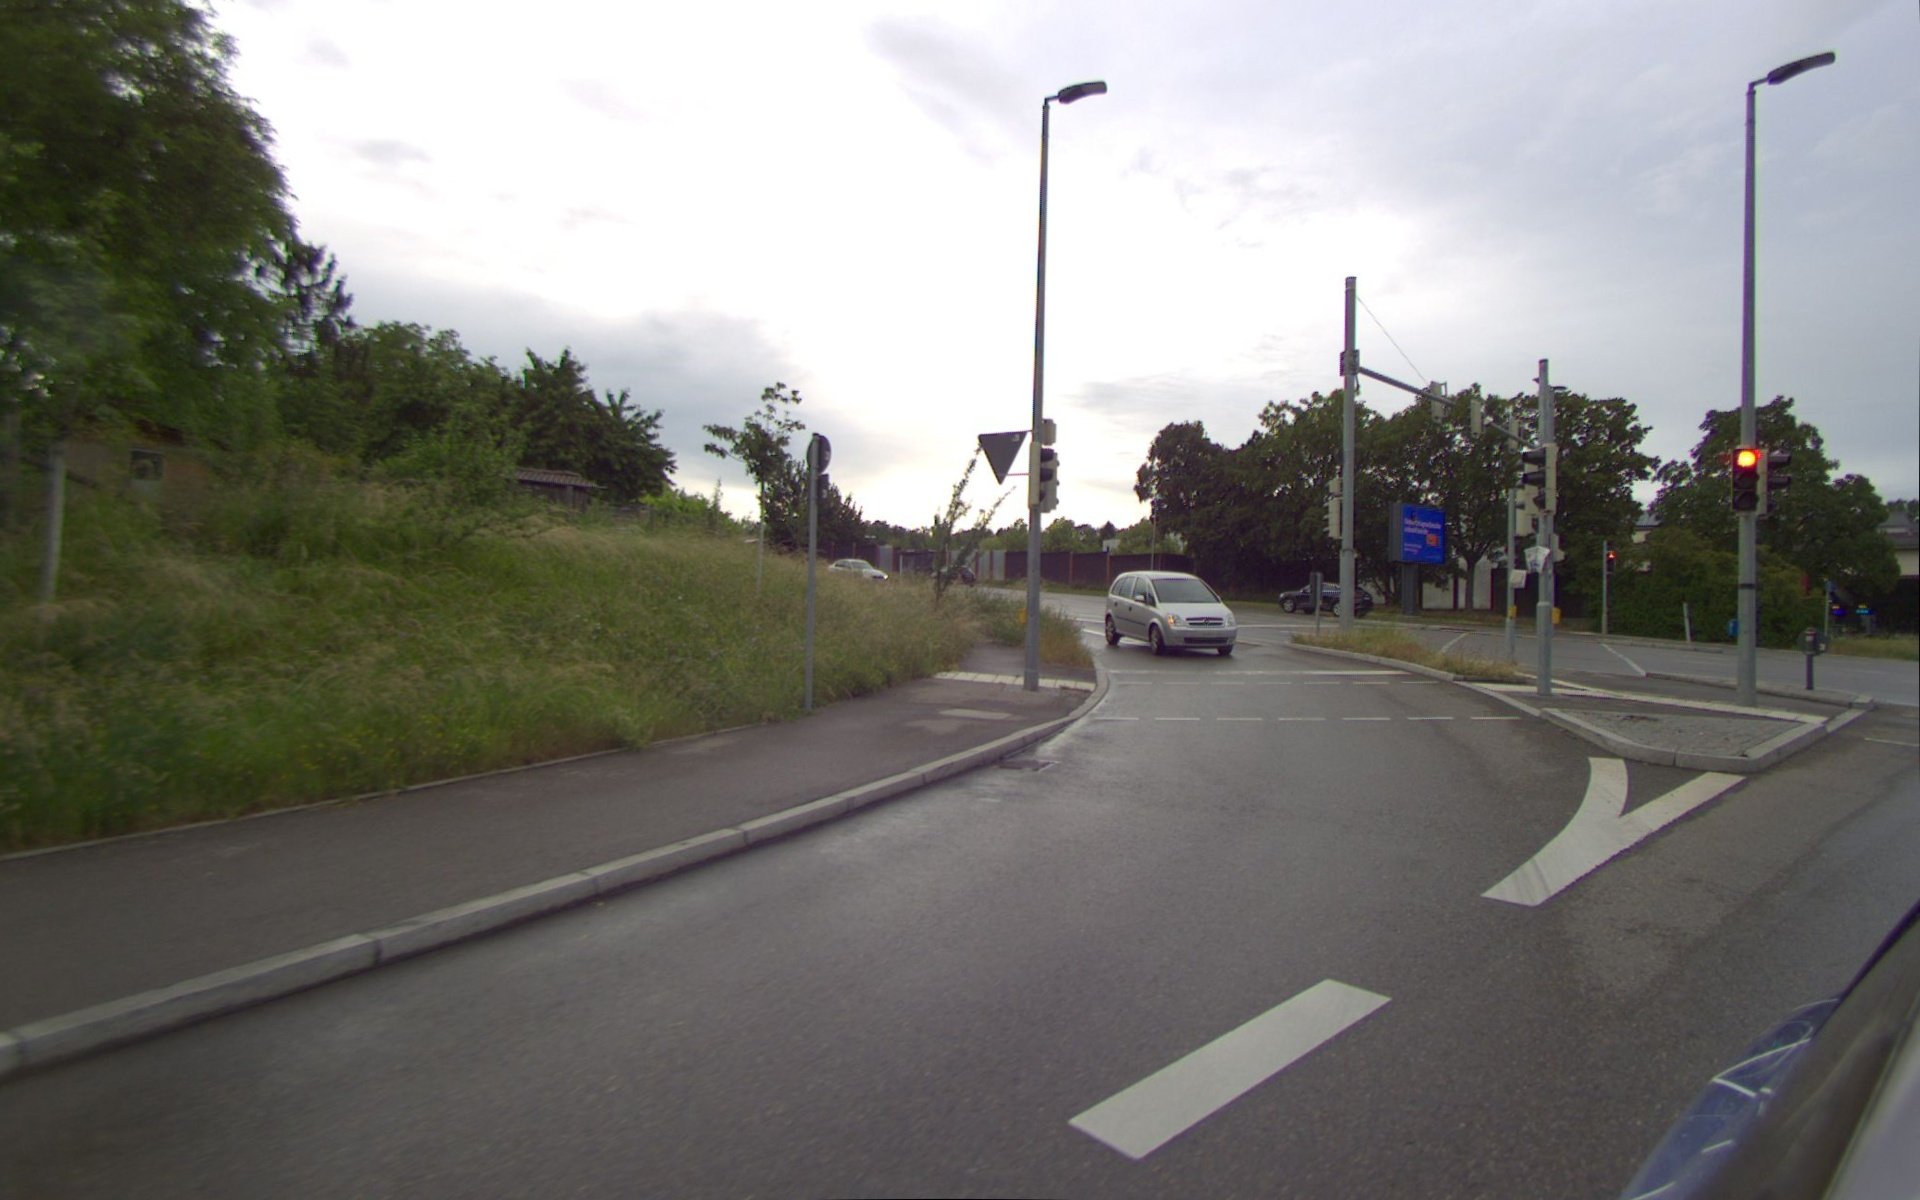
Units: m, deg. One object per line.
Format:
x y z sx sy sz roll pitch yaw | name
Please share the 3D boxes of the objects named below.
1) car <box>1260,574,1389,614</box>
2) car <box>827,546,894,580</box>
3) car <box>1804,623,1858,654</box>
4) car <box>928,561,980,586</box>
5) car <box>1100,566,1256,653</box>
16.943 -0.310 47.351 1.805 1.518 5.535 2 1 -36 | car
-5.527 -2.044 55.916 1.789 1.695 3.999 2 1 -38 | car
52.351 2.326 60.801 3.927 1.671 1.746 2 1 -39 | car
-0.441 -1.889 71.764 1.693 1.518 3.827 2 1 -36 | car
4.448 0.121 21.324 1.785 1.624 4.071 0 2 -10 | car
